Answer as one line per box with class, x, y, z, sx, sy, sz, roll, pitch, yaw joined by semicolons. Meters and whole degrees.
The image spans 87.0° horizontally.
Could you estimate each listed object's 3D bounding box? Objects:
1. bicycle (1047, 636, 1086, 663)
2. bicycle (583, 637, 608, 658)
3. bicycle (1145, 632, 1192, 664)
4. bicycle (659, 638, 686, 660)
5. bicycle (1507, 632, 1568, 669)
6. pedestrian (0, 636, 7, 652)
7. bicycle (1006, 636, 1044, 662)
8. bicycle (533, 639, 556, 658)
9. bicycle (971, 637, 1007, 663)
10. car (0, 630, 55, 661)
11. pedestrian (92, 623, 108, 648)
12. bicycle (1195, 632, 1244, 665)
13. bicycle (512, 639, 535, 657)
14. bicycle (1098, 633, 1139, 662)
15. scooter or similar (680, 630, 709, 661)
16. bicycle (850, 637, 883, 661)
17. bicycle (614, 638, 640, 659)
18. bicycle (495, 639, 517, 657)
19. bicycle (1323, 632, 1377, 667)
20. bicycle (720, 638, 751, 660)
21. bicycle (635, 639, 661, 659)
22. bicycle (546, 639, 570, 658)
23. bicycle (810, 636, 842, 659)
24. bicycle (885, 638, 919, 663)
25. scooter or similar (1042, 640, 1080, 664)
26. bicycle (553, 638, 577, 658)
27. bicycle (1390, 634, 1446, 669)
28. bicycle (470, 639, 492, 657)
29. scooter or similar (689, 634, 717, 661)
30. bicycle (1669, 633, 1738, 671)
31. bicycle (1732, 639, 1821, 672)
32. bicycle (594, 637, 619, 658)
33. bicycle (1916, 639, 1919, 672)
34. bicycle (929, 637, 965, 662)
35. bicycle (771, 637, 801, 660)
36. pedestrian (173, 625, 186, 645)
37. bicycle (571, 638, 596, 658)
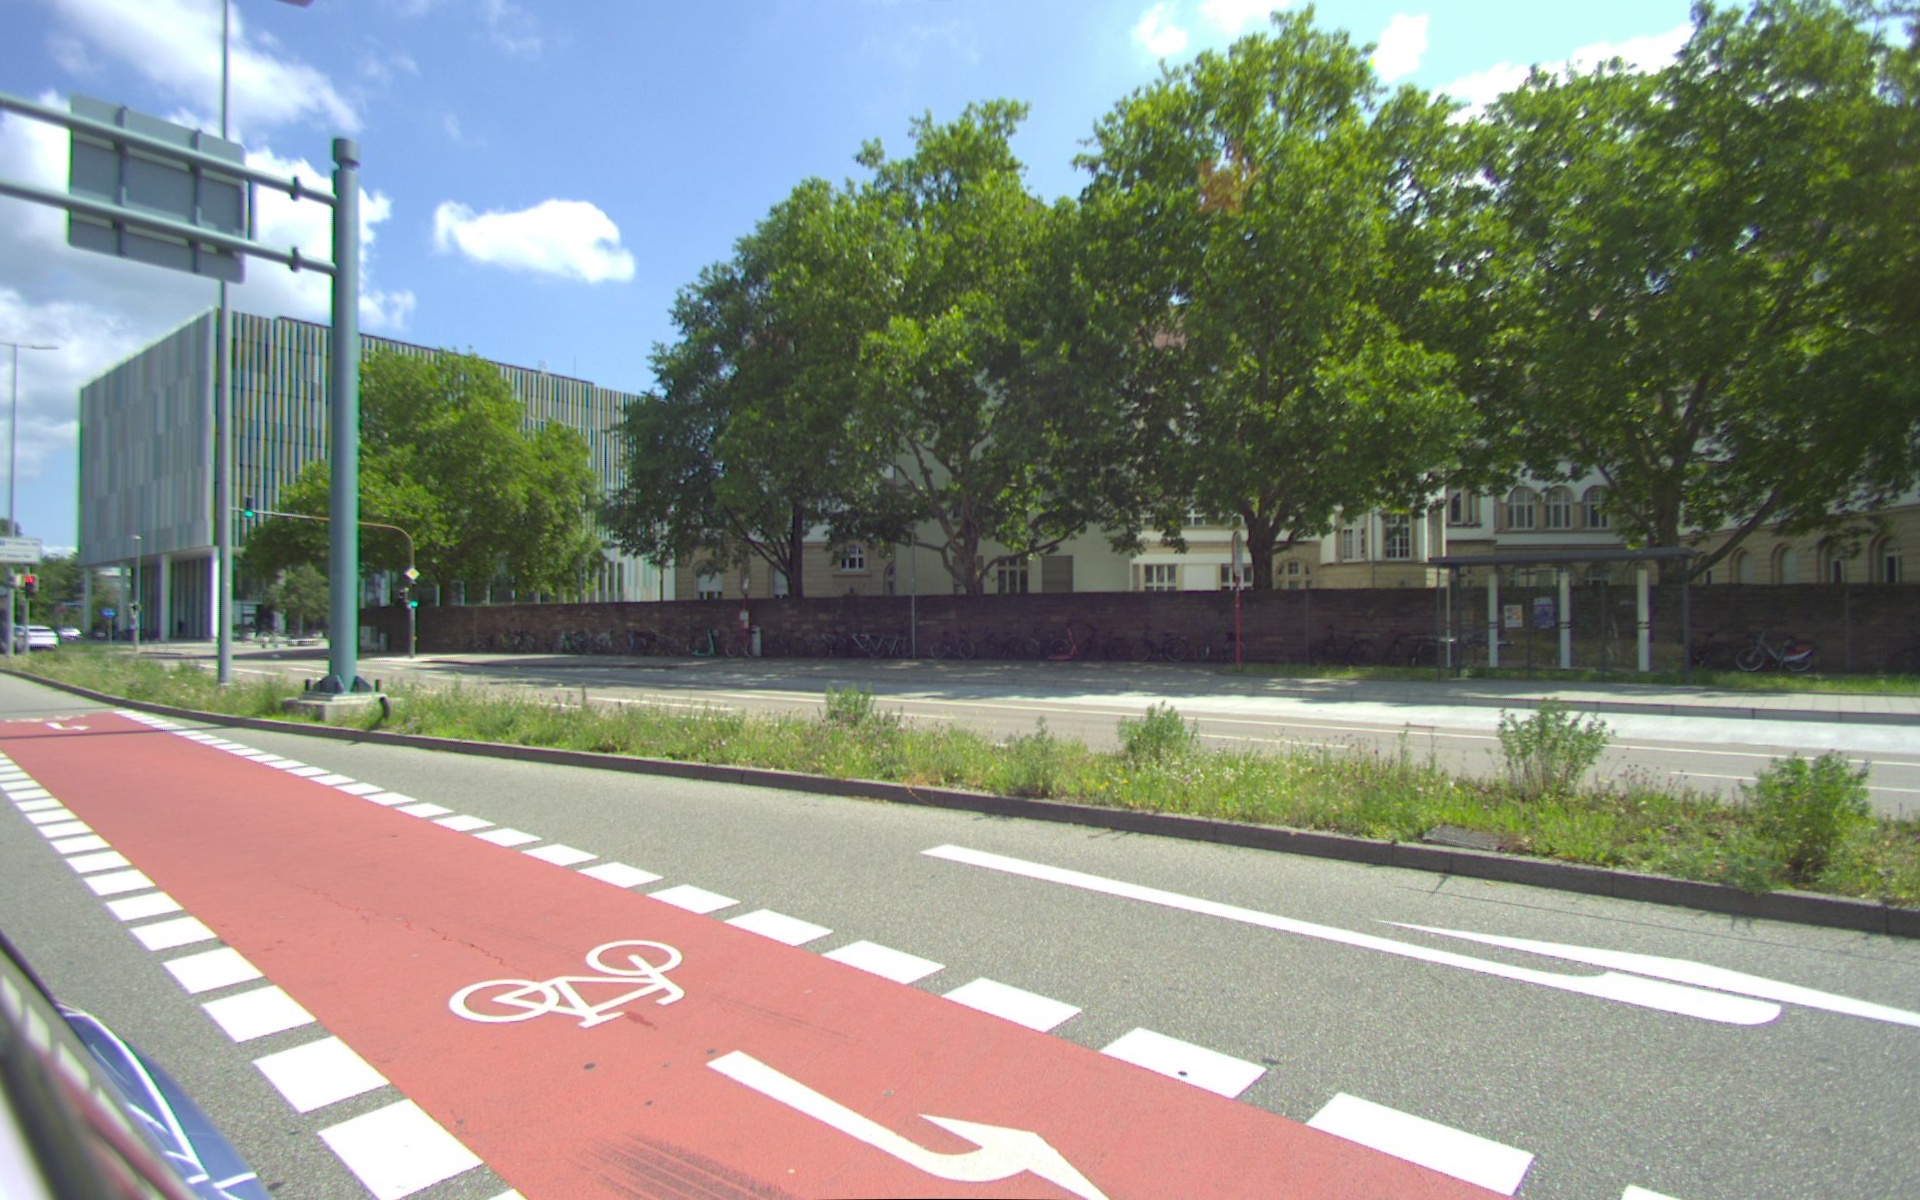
bicycle;3.408;1.588;32.457;1.230;0.837;0.262;-1;-2;28
bicycle;-15.332;1.999;42.554;1.230;0.837;0.262;-1;-2;29
bicycle;6.399;1.471;31.036;1.385;0.972;0.263;-1;-2;20
bicycle;-11.515;1.960;40.528;1.231;0.837;0.262;-2;-2;30
bicycle;15.630;1.363;27.389;1.384;0.972;0.263;-1;-2;18
pedestrian;-99.755;4.572;105.257;0.994;1.669;0.853;-2;-2;39
bicycle;2.132;1.605;33.068;1.230;0.837;0.262;-1;-2;28
bicycle;-18.596;2.157;45.307;1.230;0.837;0.262;-1;-2;29
bicycle;0.960;1.658;33.718;1.230;0.837;0.262;-1;-2;28
car;-54.808;2.661;59.329;4.508;1.724;1.973;-2;-2;40
pedestrian;-72.949;3.013;85.884;0.994;2.029;0.853;-2;-2;39
bicycle;7.806;1.464;30.416;1.389;0.972;0.262;-1;-2;28
bicycle;-19.941;2.183;46.256;1.230;0.837;0.262;-1;-2;29
bicycle;4.945;1.478;31.599;1.230;0.915;0.262;-1;-2;28
scooter or similar;-10.218;1.756;38.947;1.230;1.199;0.262;-1;-2;29
bicycle;-3.321;1.748;35.914;1.231;0.837;0.262;-1;-2;30
bicycle;-13.888;2.022;42.213;1.231;0.837;0.262;-2;-2;30
bicycle;-21.065;2.223;46.970;1.231;0.837;0.262;-2;-2;30
bicycle;11.178;1.421;29.033;1.384;0.972;0.263;-1;-2;18
bicycle;-8.647;1.881;38.948;1.226;0.837;0.263;-1;-2;19
bicycle;-12.815;2.003;41.510;1.231;0.837;0.262;-2;-2;30
bicycle;-17.472;2.105;43.983;1.230;0.837;0.262;-1;-2;29
bicycle;-4.891;1.728;36.856;1.231;0.837;0.262;-1;-2;30
bicycle;-2.016;1.746;35.115;1.231;0.837;0.262;-1;-2;30
scooter or similar;3.177;1.624;31.807;1.133;0.734;0.264;-1;-2;18
bicycle;-17.407;2.106;44.558;1.230;0.837;0.262;-1;-2;29
bicycle;12.864;1.446;28.418;1.384;0.972;0.263;-1;-2;18
bicycle;-22.693;2.265;47.956;1.231;0.837;0.262;-2;-2;30
scooter or similar;-10.145;1.872;39.917;1.133;1.028;0.264;-1;-2;19
bicycle;19.232;1.340;26.195;1.384;0.972;0.263;-1;-2;18
bicycle;20.744;1.400;25.722;1.734;0.823;0.327;-1;-2;18
bicycle;-14.985;2.011;42.878;1.231;0.837;0.262;-2;-2;30
bicycle;24.457;1.351;24.598;1.734;0.823;0.382;-1;-2;18
bicycle;-0.438;1.667;34.266;1.230;0.837;0.262;-1;-2;28
bicycle;-6.471;1.805;37.565;1.231;0.837;0.262;-1;-2;30
pedestrian;-79.118;3.508;102.608;0.994;2.029;0.853;-2;-2;40
bicycle;-16.268;2.077;43.723;1.231;0.837;0.262;-2;-2;30
